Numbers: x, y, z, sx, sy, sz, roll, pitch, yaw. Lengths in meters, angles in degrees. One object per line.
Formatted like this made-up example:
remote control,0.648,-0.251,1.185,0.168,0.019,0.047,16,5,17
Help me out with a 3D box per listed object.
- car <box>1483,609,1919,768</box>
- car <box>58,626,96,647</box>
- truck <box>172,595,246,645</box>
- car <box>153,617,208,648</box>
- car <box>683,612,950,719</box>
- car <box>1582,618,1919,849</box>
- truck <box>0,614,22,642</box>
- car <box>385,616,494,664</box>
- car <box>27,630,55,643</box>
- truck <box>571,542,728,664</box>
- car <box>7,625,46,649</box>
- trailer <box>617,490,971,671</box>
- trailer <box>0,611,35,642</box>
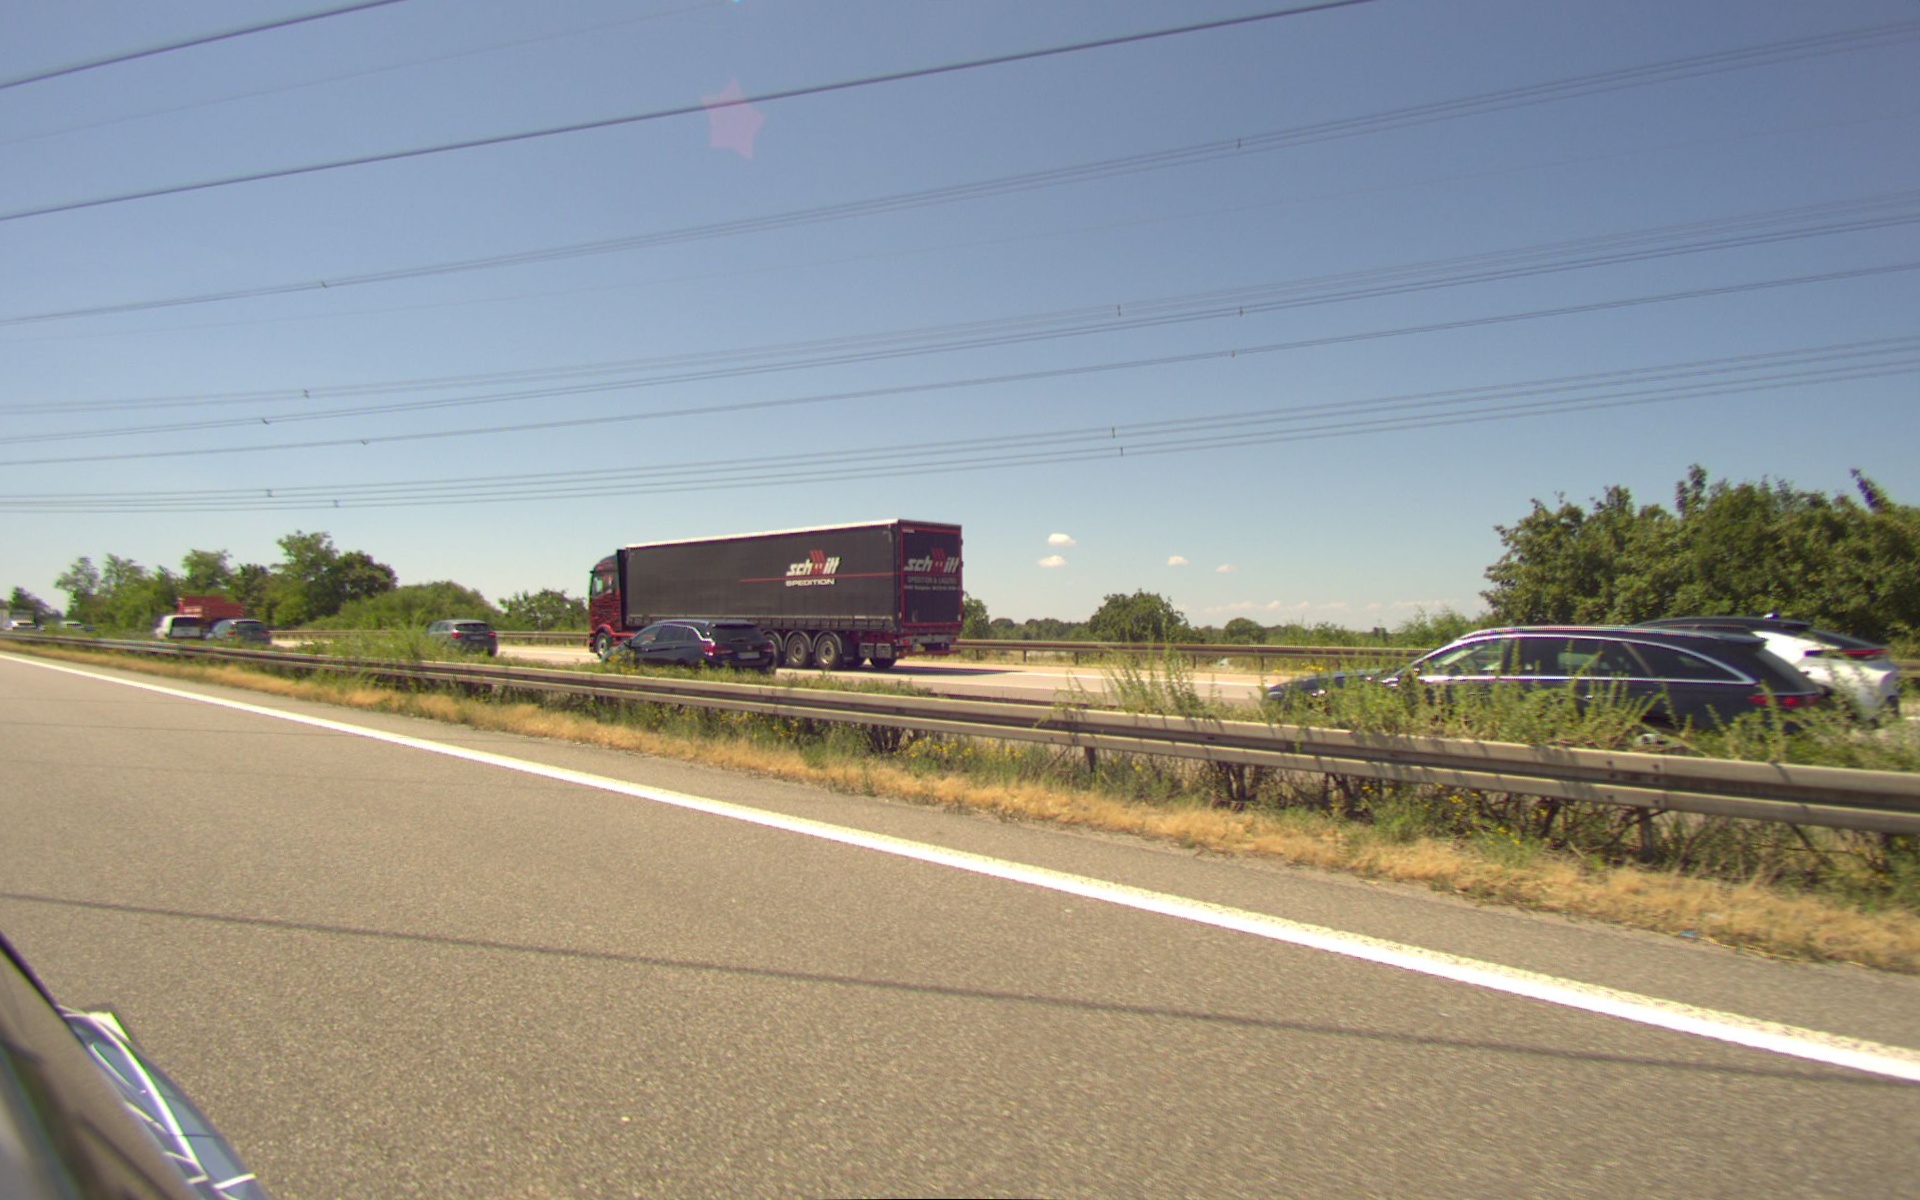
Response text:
car,9.409,0.975,12.359,5.015,1.630,1.972,-2,-2,42
car,-77.372,3.226,88.651,4.532,1.774,1.973,-2,-2,41
truck,-56.477,1.575,75.988,8.529,3.554,2.741,-2,-2,41
car,-48.554,2.028,63.023,4.366,1.787,1.950,-2,-2,41
car,-2.663,1.079,17.871,5.014,1.631,1.809,-2,-2,41
car,7.873,0.962,7.742,5.015,1.630,1.972,-2,-2,42
truck,-139.915,4.143,148.090,10.585,3.980,2.664,-2,-2,41
car,-19.224,1.468,37.303,5.015,1.630,1.924,-2,-2,42
car,-114.510,4.545,126.080,5.064,1.598,1.973,-2,-2,41
truck,-11.131,0.181,36.032,5.989,4.013,2.620,-2,-2,42
car,-77.838,3.086,84.365,4.532,1.867,1.973,-2,-2,41
trailer,-5.764,-0.307,31.248,13.859,4.586,2.621,-2,-2,42
trailer,-132.530,3.753,142.111,8.321,4.196,2.812,-2,-2,40
